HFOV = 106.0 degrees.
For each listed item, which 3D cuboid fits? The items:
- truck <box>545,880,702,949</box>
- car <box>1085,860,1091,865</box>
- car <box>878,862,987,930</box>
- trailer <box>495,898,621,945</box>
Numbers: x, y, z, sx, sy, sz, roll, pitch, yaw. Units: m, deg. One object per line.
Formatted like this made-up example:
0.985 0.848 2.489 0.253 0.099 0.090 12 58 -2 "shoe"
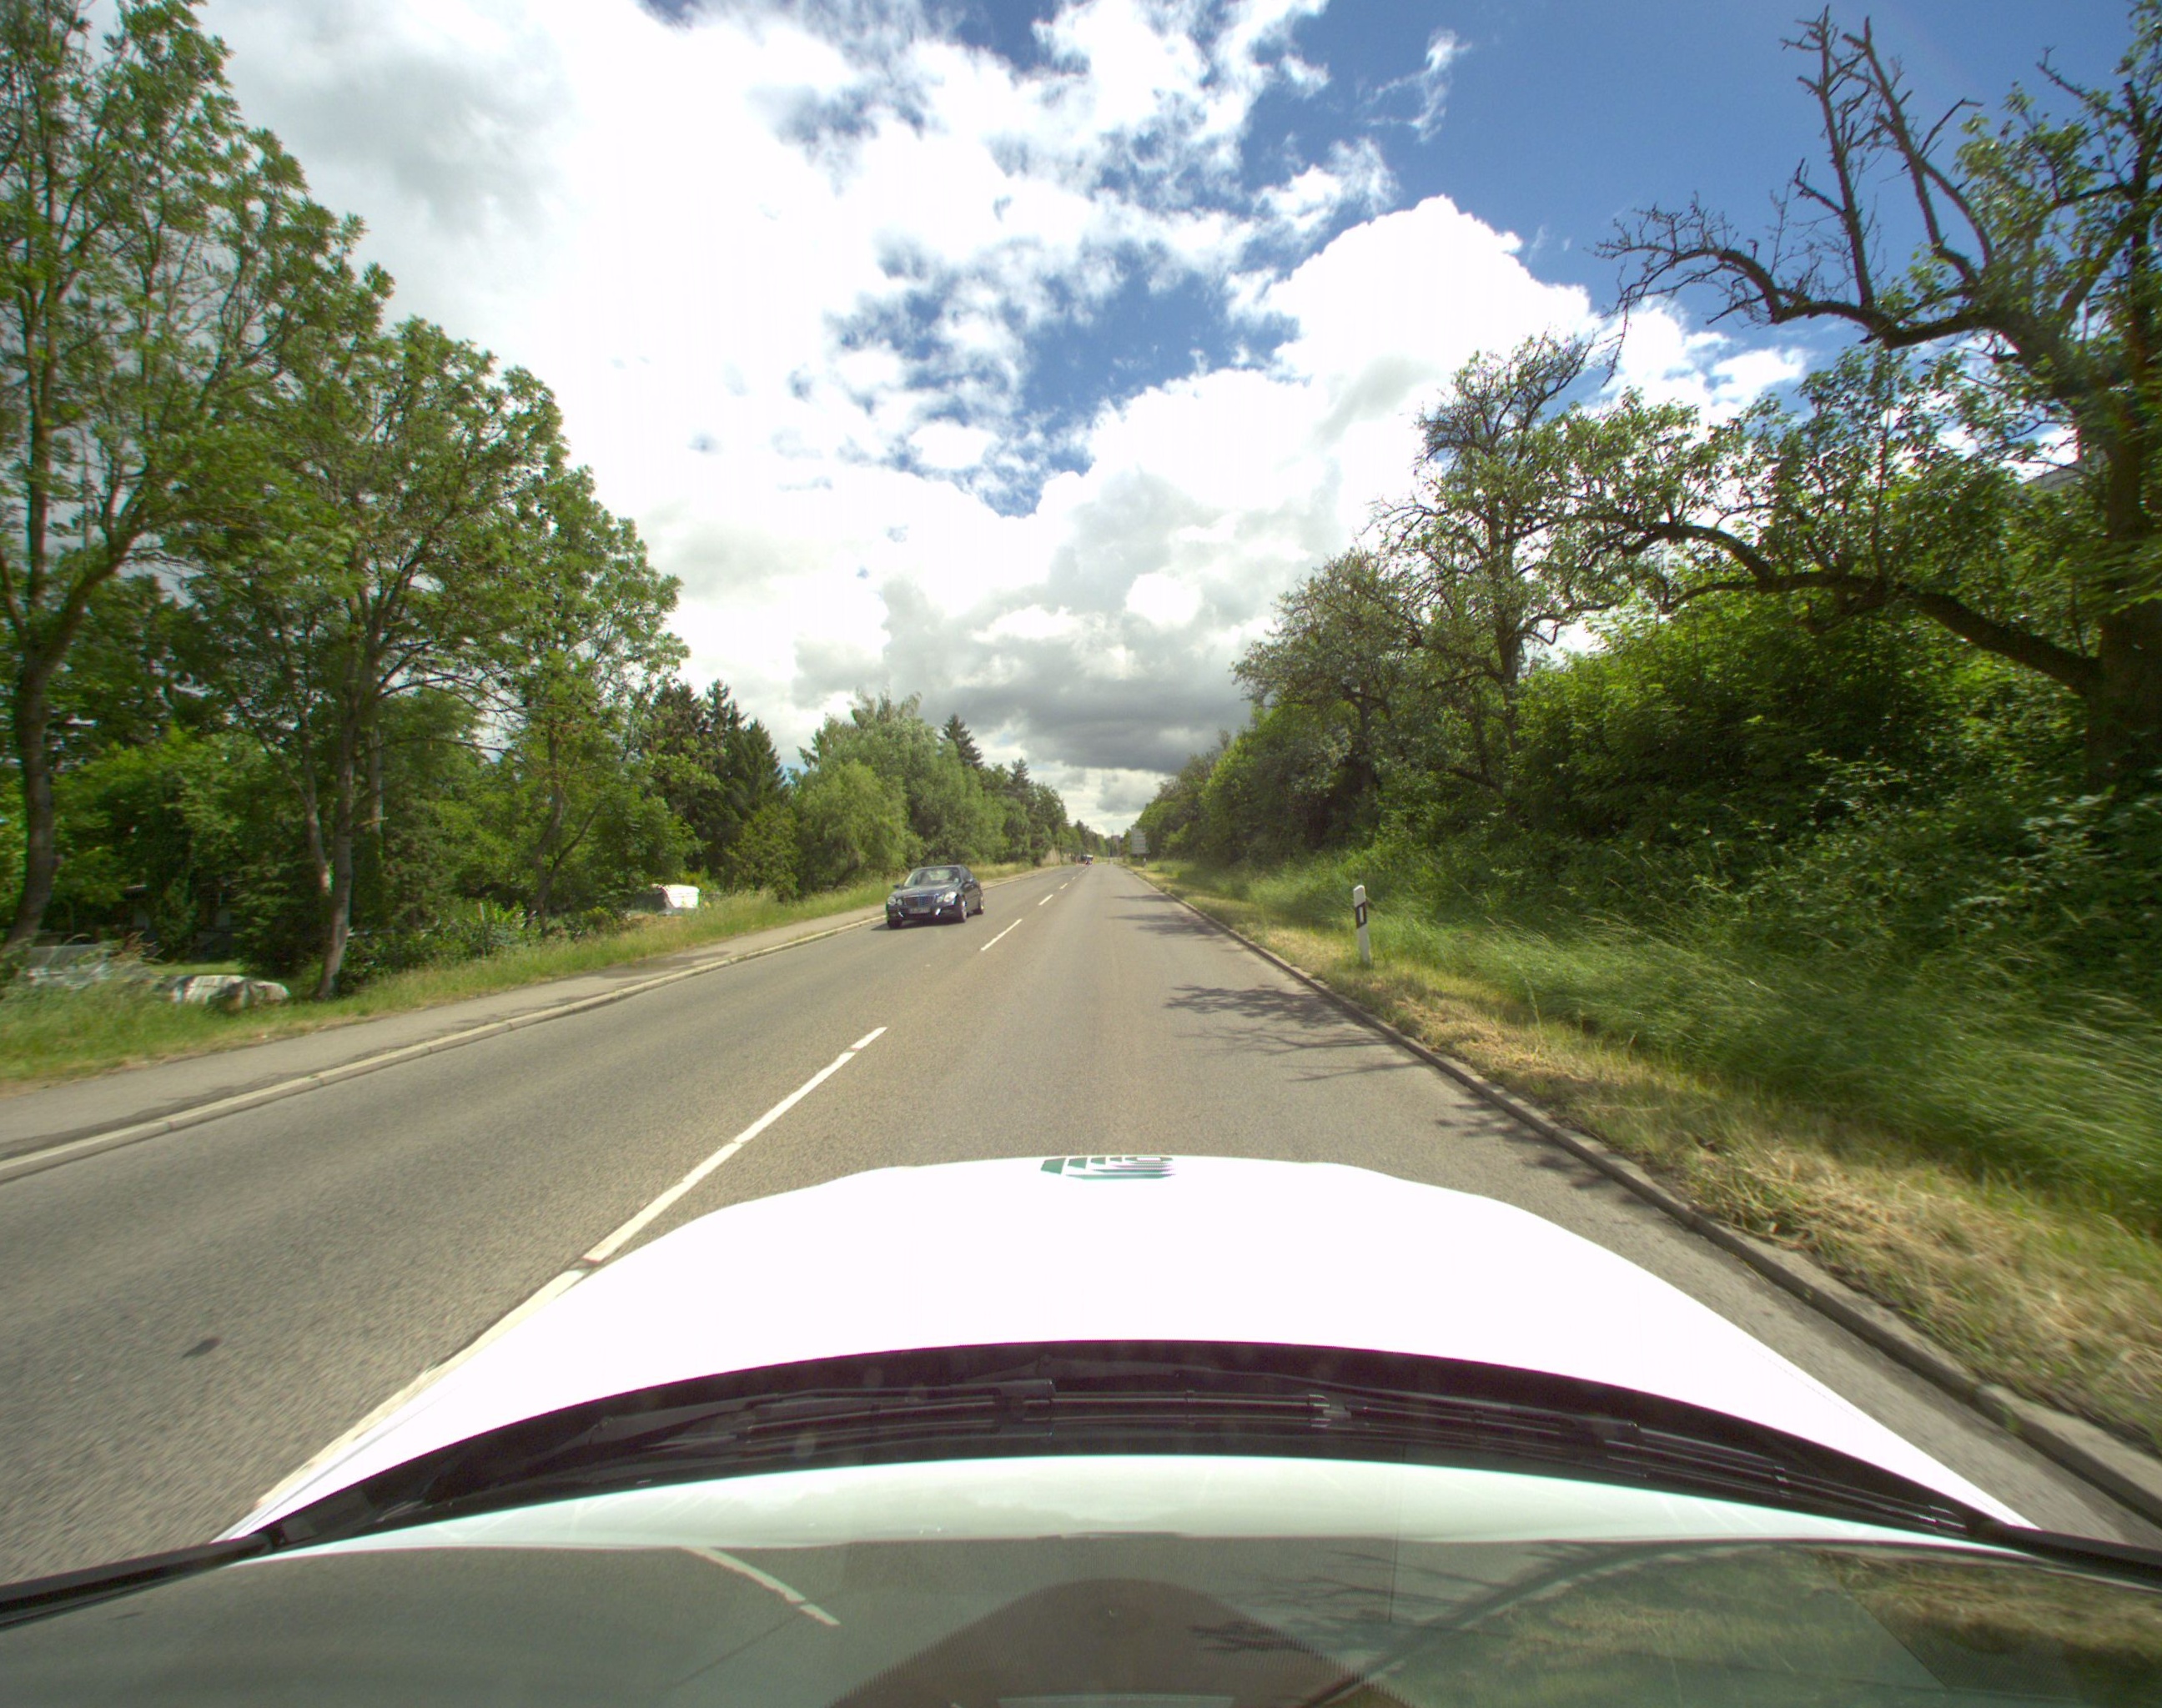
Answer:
-20.705 2.721 36.928 6.164 2.609 2.006 -4 -1 10 "truck"
2.012 2.530 235.488 1.745 1.464 4.001 -3 -1 1 "car"
-3.608 0.965 20.621 1.778 1.334 4.622 -4 0 0 "car"
-21.465 2.760 33.515 3.962 1.555 2.006 -4 -1 10 "trailer"
